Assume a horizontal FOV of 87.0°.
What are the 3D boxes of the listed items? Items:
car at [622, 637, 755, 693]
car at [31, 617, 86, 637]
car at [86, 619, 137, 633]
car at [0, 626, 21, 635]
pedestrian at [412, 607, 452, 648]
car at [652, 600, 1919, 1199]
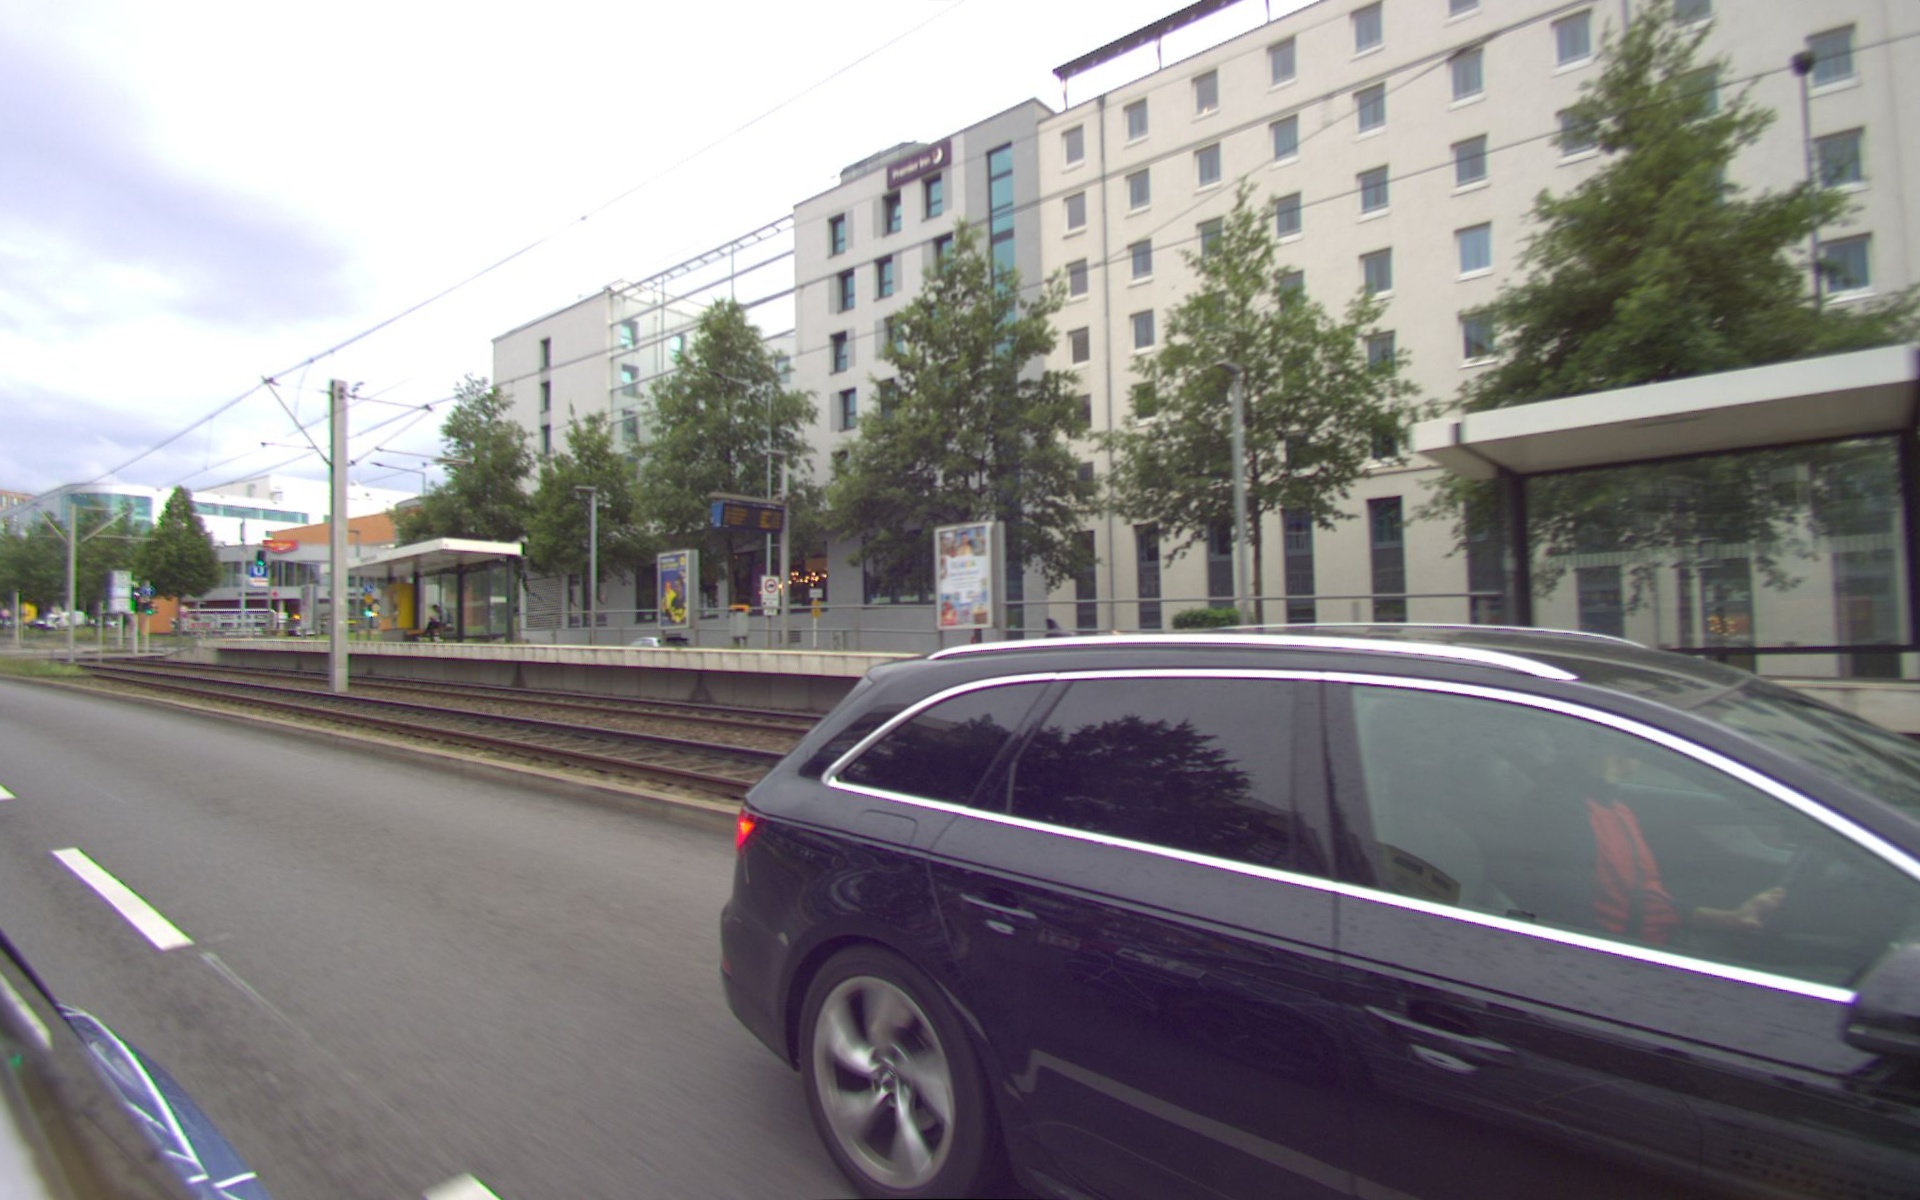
[{"bbox_3d":[-8.850,2.052,32.816,4.656,1.665,1.875,-1,-3,41],"label":"car"},{"bbox_3d":[-128.772,3.883,144.598,2.262,2.648,5.448,-1,0,20],"label":"car"},{"bbox_3d":[-126.757,3.834,151.226,2.271,1.940,5.426,-1,0,31],"label":"car"},{"bbox_3d":[-152.660,4.866,161.523,1.810,1.502,3.818,-1,-1,19],"label":"car"},{"bbox_3d":[-17.173,0.881,32.914,0.684,1.310,0.952,-2,-2,39],"label":"pedestrian"},{"bbox_3d":[1.456,0.733,2.058,4.827,1.445,1.771,-1,-1,42],"label":"car"}]
